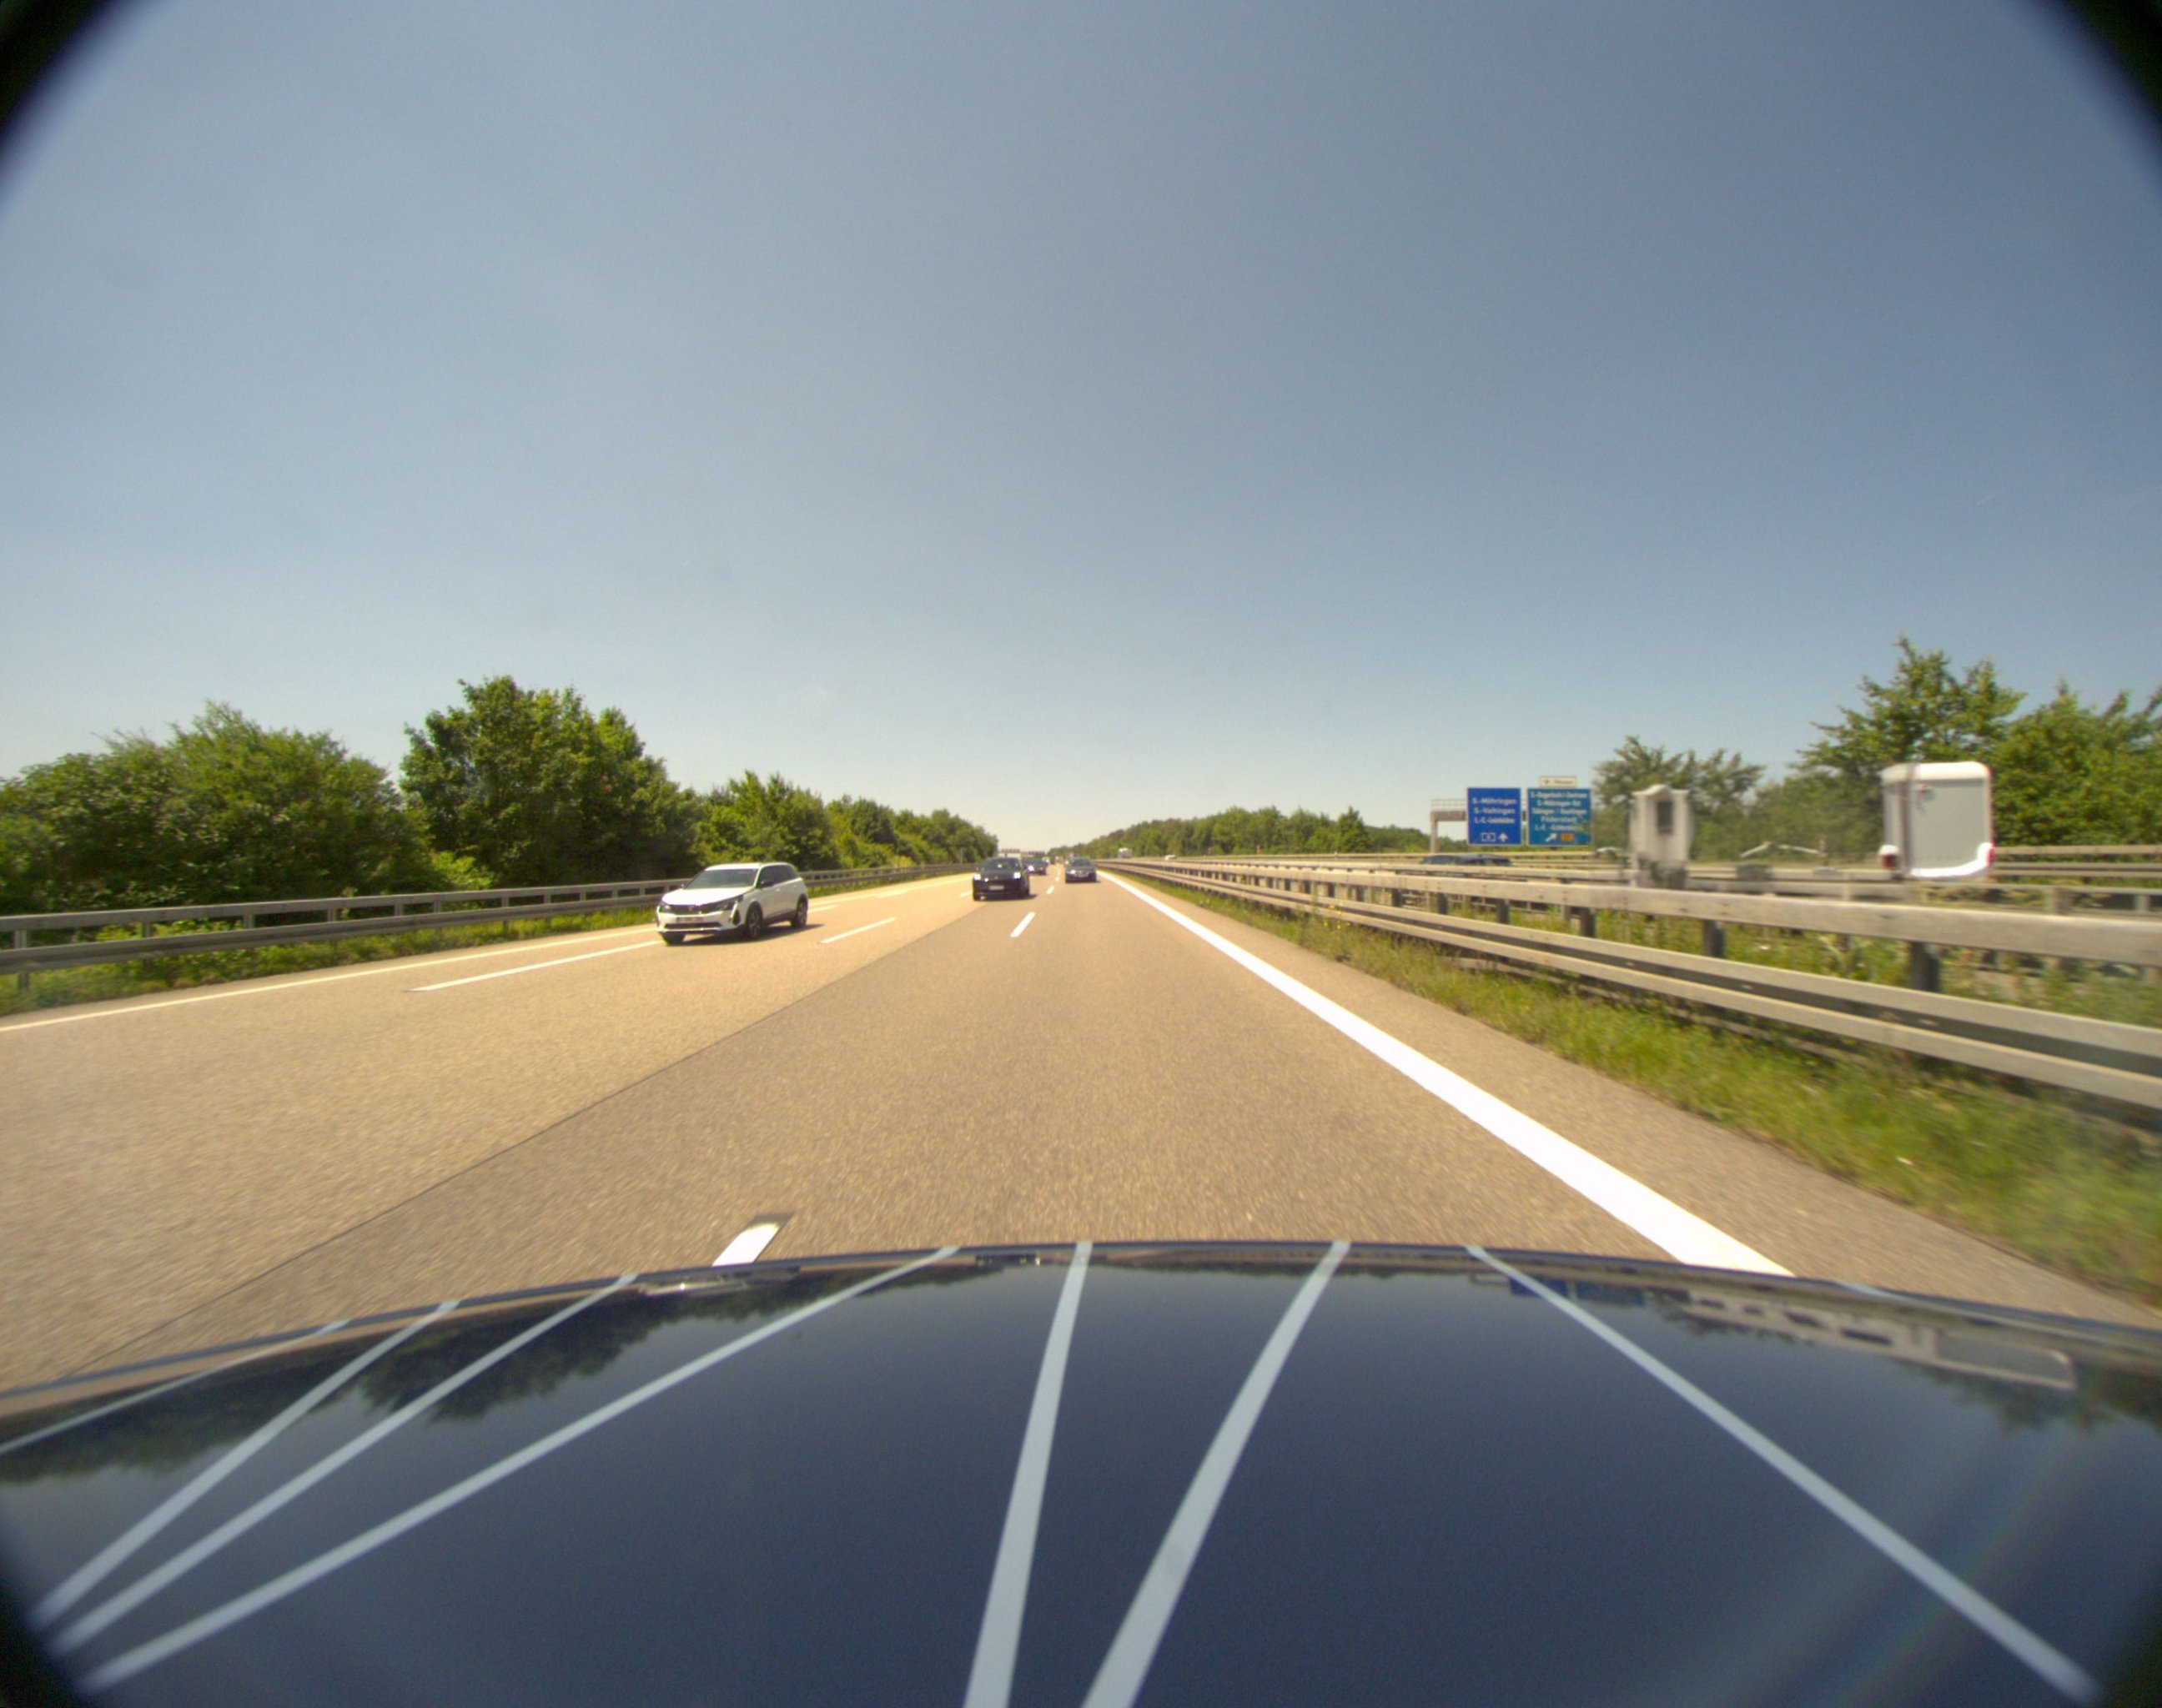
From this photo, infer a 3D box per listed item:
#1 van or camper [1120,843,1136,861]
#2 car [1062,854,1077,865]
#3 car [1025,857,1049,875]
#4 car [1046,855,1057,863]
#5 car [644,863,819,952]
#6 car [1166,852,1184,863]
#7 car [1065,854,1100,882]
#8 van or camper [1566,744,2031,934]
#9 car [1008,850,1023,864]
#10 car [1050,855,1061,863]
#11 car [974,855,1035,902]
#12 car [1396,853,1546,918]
[{"bbox_3d":[8.962,-0.361,145.312,2.319,3.292,6.831,-2,0,-1],"label":"van or camper"},{"bbox_3d":[-1.589,0.799,105.511,1.931,1.390,4.117,-2,1,1],"label":"car"},{"bbox_3d":[-3.814,1.027,66.379,1.932,1.390,4.116,-2,1,-2],"label":"car"},{"bbox_3d":[-5.459,0.911,140.352,1.932,1.390,4.117,-2,1,-1],"label":"car"},{"bbox_3d":[-7.607,1.078,17.124,1.748,1.582,4.619,-2,1,0],"label":"car"},{"bbox_3d":[12.060,0.458,97.865,1.753,1.377,4.098,-2,0,1],"label":"car"},{"bbox_3d":[0.137,0.778,44.671,1.931,1.499,4.391,-2,1,2],"label":"car"},{"bbox_3d":[14.432,-0.257,16.594,2.450,3.069,8.121,-2,0,0],"label":"van or camper"},{"bbox_3d":[-9.262,0.442,107.812,1.809,1.908,4.293,-2,1,-3],"label":"car"},{"bbox_3d":[-6.252,1.219,187.859,2.000,1.849,3.996,-2,1,-11],"label":"car"},{"bbox_3d":[-2.910,0.899,29.699,1.931,1.586,4.131,-2,1,0],"label":"car"},{"bbox_3d":[9.608,0.707,19.139,1.602,1.407,4.264,-2,0,0],"label":"car"}]
